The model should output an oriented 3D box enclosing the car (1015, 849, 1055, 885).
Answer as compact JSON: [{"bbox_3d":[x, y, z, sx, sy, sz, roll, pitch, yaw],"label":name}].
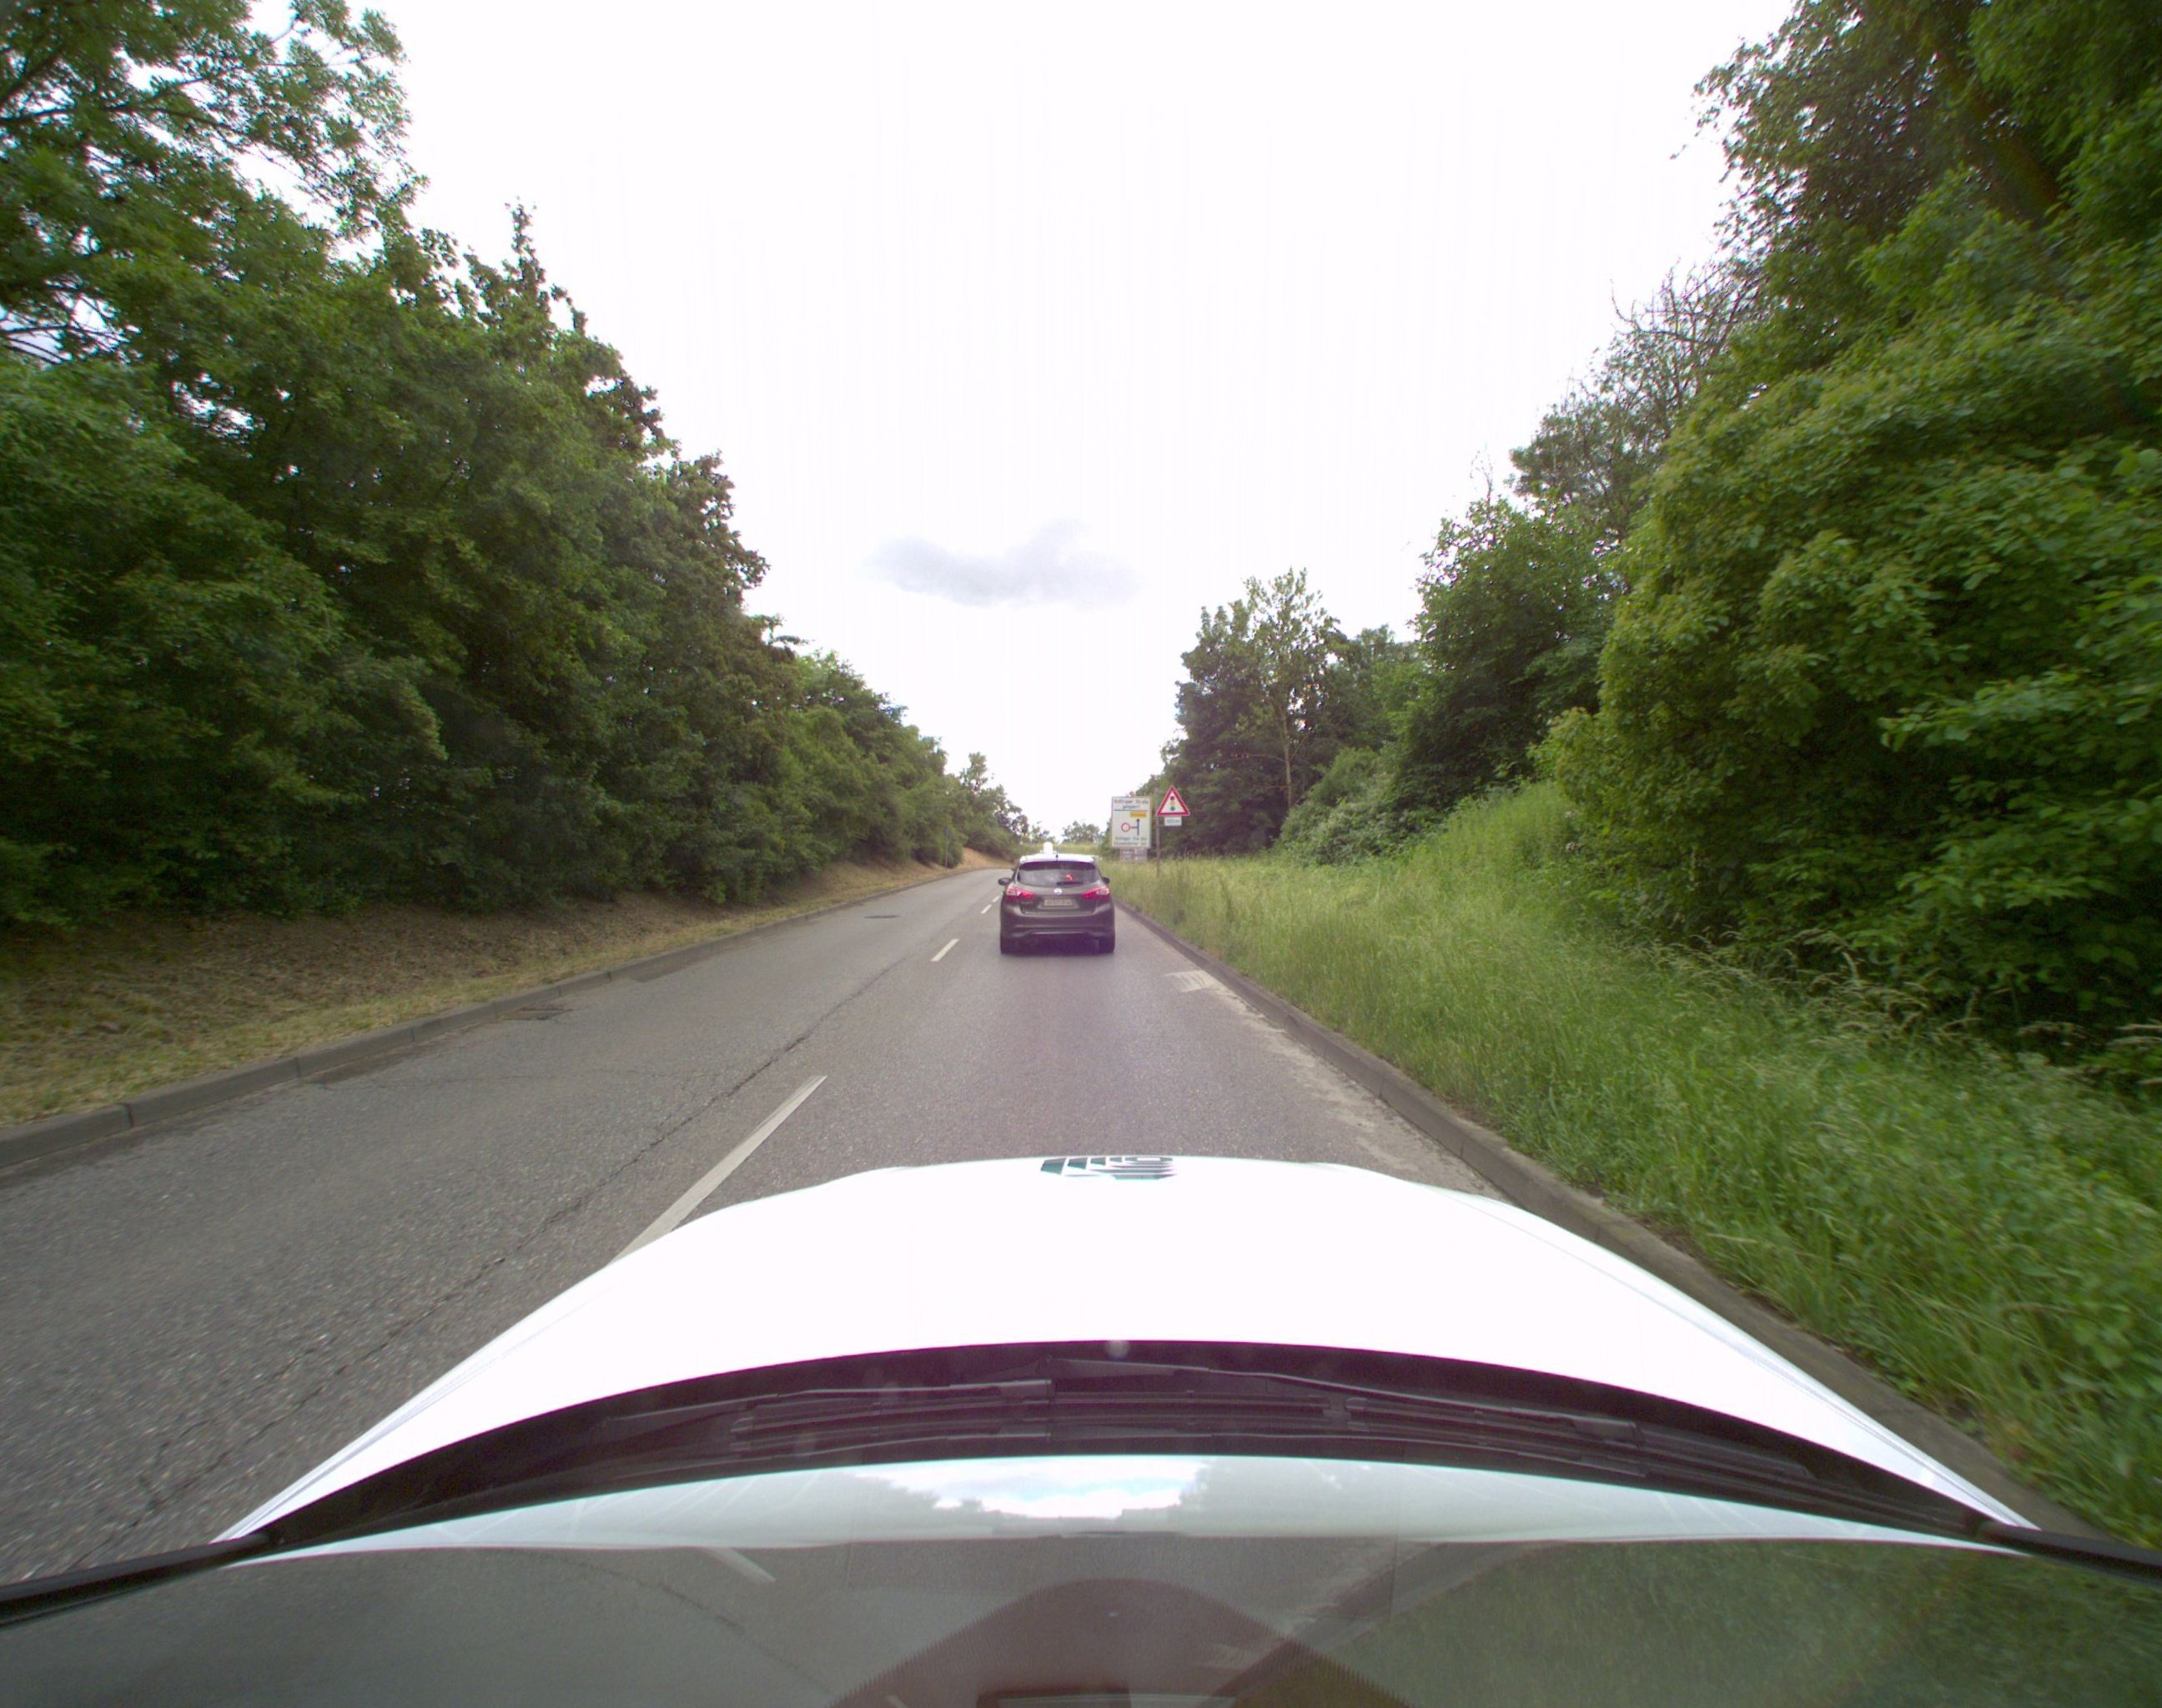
[{"bbox_3d":[-2.099,0.567,37.760,1.731,1.556,3.541,-1,0,-2],"label":"car"}]

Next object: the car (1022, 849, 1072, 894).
[{"bbox_3d":[-1.249,0.605,30.509,1.731,1.556,3.541,-1,0,-2],"label":"car"}]

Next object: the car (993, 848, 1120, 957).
[{"bbox_3d":[-0.419,0.696,13.596,1.826,1.556,3.496,-1,0,-2],"label":"car"}]

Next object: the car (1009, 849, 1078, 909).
[{"bbox_3d":[-1.052,0.661,23.603,1.825,1.556,3.622,-1,0,-2],"label":"car"}]

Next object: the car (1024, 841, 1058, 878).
[{"bbox_3d":[-2.189,0.281,45.015,1.731,1.935,3.541,-1,0,-2],"label":"car"}]

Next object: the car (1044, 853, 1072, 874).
[{"bbox_3d":[-1.797,0.727,64.511,1.727,1.526,3.647,-1,0,5],"label":"car"}]
